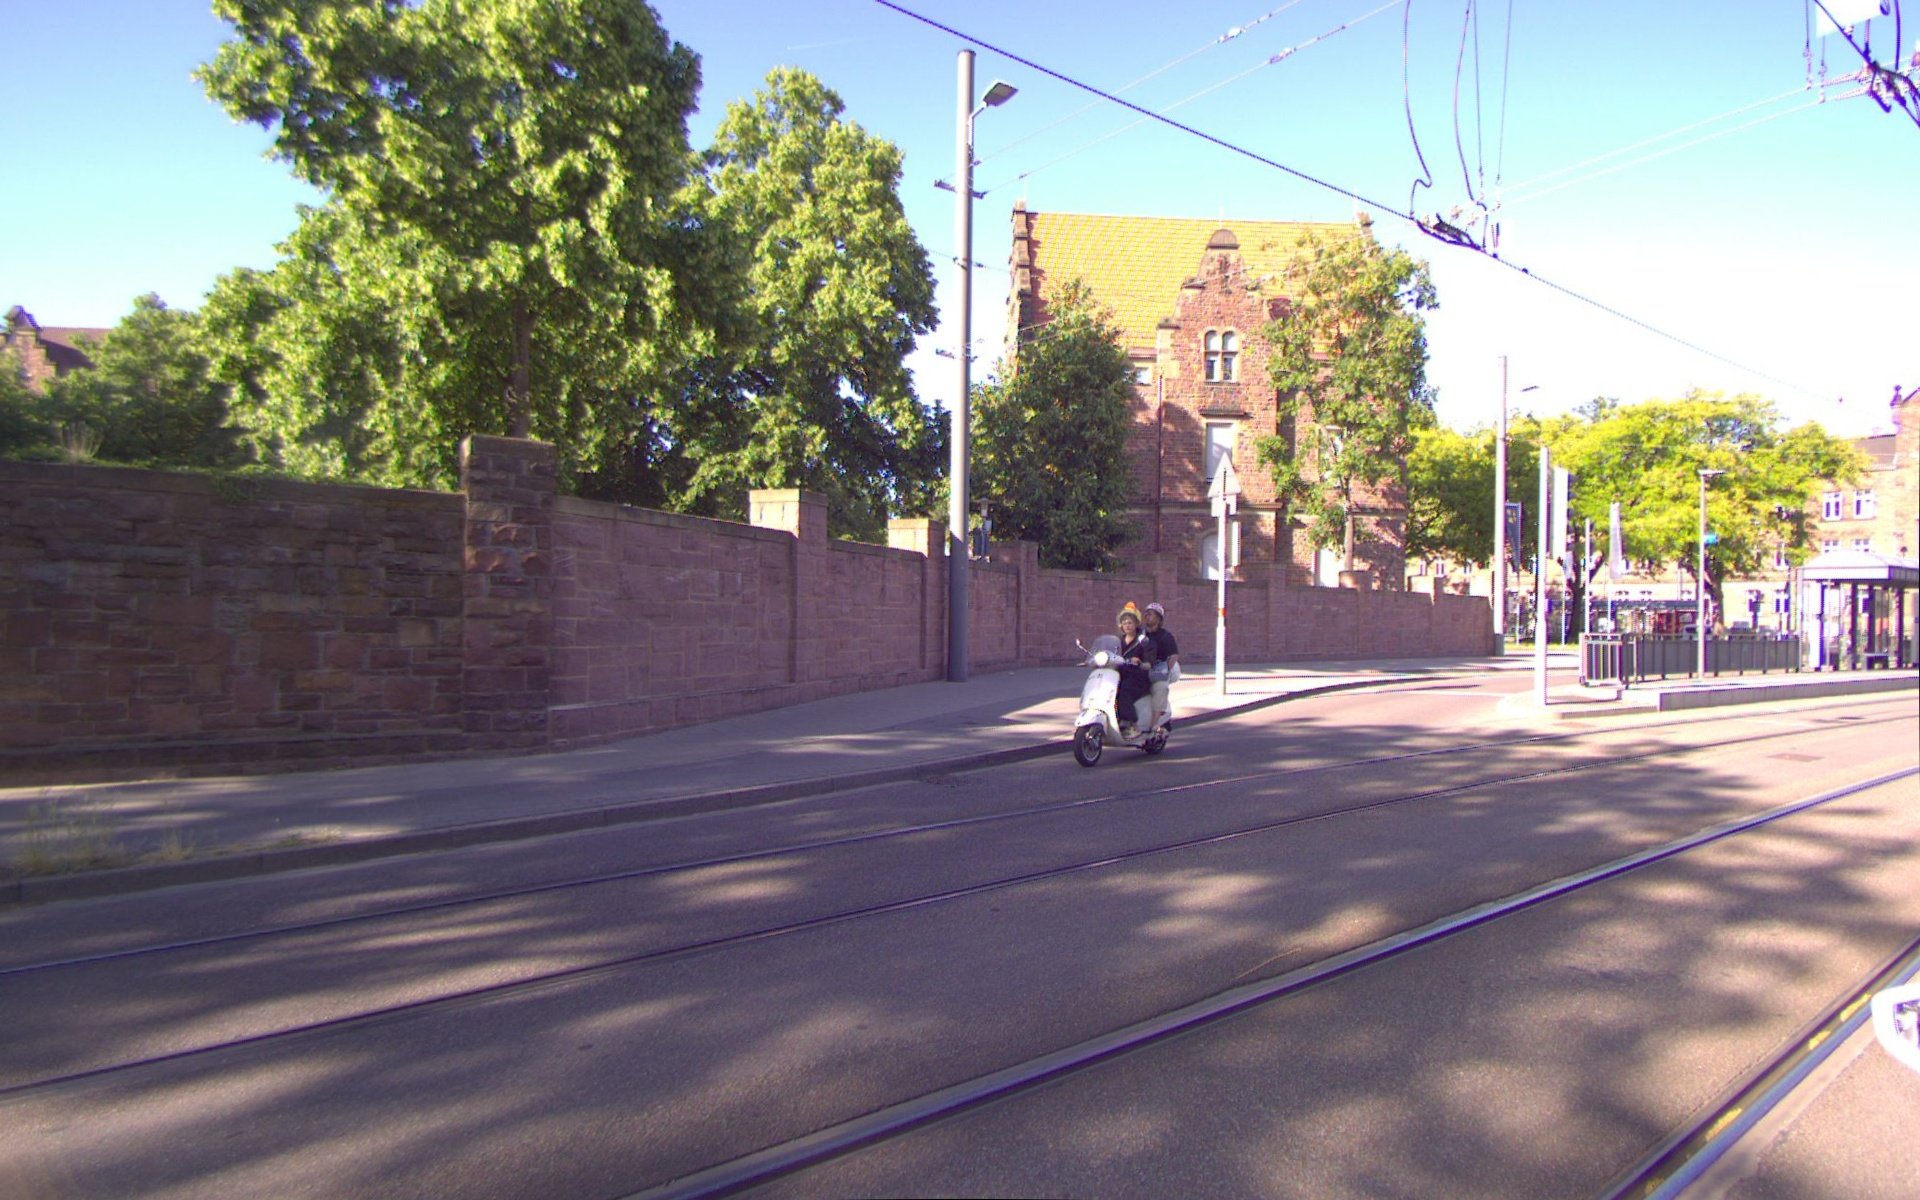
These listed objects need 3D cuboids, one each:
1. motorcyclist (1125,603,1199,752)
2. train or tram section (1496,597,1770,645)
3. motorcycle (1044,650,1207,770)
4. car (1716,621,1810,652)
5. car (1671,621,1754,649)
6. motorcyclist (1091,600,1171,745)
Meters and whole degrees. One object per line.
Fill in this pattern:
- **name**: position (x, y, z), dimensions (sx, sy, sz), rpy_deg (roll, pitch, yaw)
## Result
- **motorcyclist**: position (2.166, 0.811, 10.790), dimensions (0.462, 1.536, 0.601), rpy_deg (1, 0, -39)
- **train or tram section**: position (50.025, 1.478, 75.891), dimensions (3.312, 3.196, 17.280), rpy_deg (2, -1, -33)
- **motorcycle**: position (1.754, 1.096, 10.462), dimensions (1.841, 1.108, 0.604), rpy_deg (1, 0, -39)
- **car**: position (47.751, 2.176, 59.802), dimensions (1.798, 1.651, 3.964), rpy_deg (2, 0, -32)
- **car**: position (49.175, 2.260, 65.686), dimensions (1.798, 1.651, 3.964), rpy_deg (2, 0, -32)
- **motorcyclist**: position (1.780, 0.731, 10.481), dimensions (0.442, 1.460, 0.678), rpy_deg (1, 0, -38)
